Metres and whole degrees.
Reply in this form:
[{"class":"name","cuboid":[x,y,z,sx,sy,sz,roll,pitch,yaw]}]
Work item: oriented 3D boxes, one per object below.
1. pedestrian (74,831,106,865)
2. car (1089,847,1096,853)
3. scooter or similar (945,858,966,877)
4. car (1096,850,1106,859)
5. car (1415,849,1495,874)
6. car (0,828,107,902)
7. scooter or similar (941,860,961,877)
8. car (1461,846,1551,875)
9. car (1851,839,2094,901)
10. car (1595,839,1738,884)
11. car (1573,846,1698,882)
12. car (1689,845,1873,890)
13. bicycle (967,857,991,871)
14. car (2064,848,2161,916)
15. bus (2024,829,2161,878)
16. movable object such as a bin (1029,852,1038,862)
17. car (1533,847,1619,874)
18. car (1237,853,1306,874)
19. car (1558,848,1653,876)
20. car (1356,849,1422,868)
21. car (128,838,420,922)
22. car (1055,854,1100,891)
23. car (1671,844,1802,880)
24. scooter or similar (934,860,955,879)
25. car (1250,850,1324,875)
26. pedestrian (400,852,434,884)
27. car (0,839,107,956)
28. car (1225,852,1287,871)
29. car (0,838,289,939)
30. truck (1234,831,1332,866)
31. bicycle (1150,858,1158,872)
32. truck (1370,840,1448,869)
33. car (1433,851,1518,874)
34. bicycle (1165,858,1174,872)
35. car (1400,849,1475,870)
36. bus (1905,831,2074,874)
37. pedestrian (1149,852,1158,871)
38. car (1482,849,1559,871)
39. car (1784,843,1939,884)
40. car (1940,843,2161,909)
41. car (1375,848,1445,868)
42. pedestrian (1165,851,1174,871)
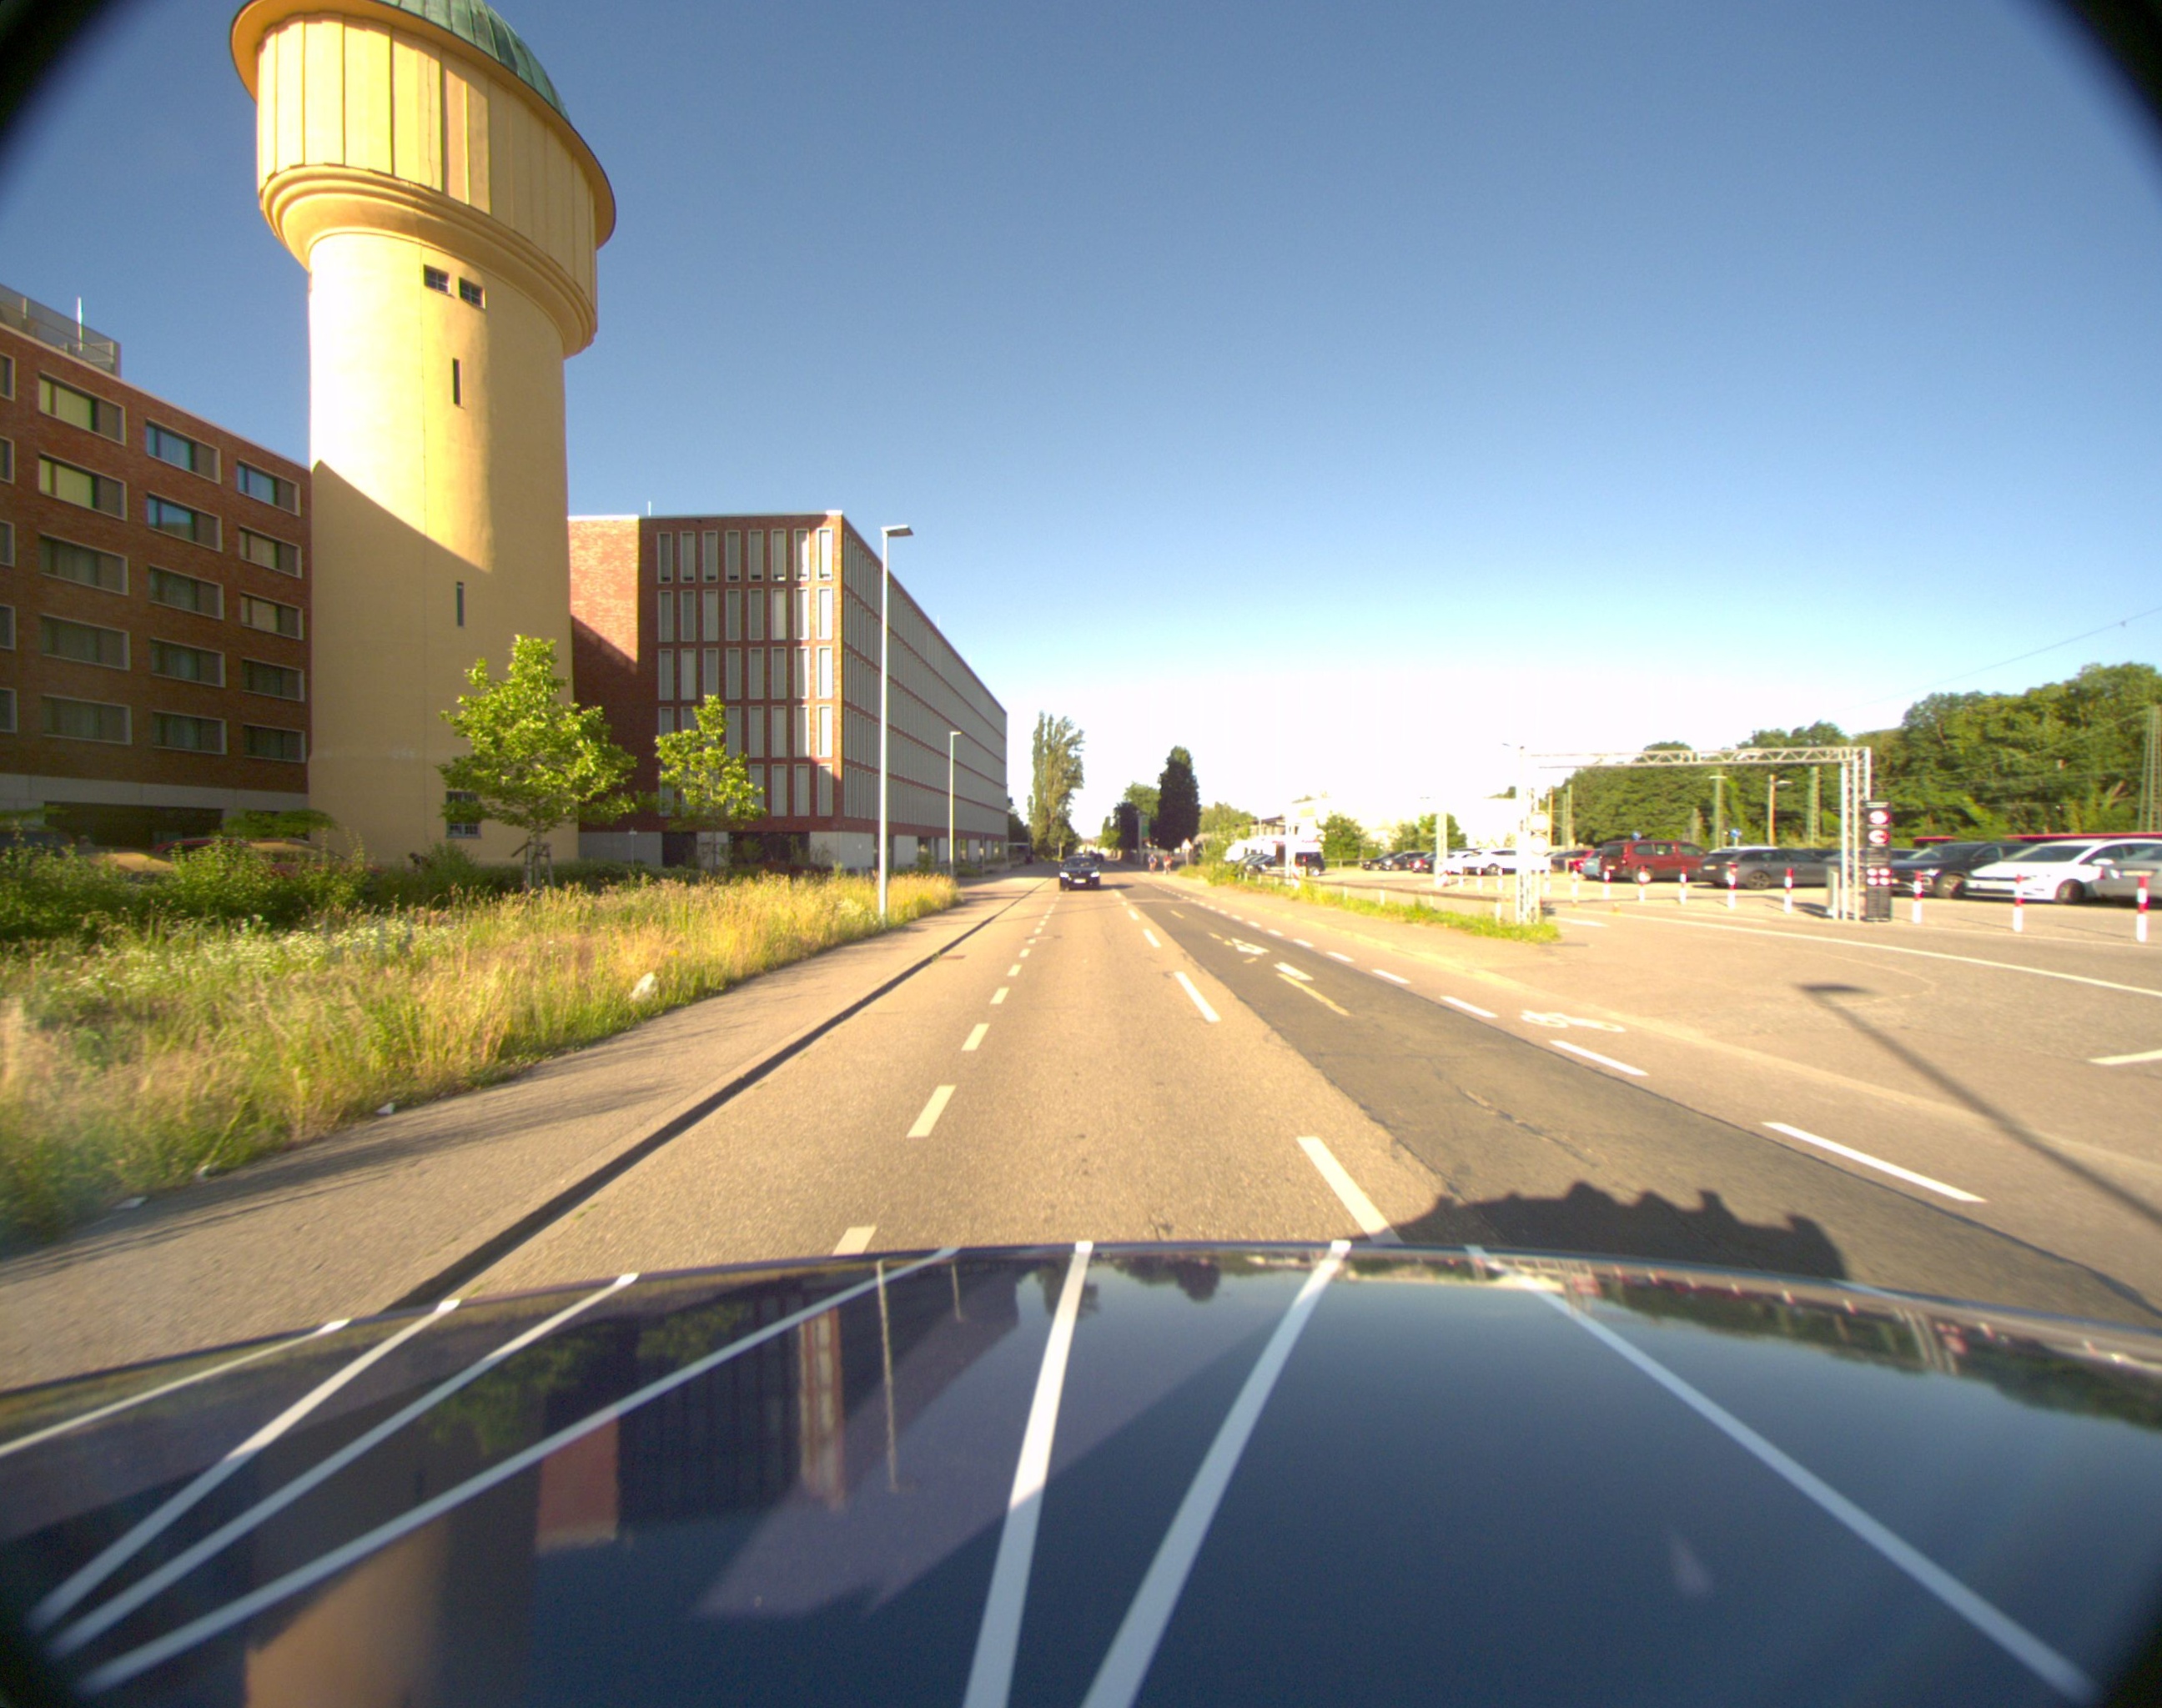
[{"class":"pedestrian","cuboid":[-34.120,-0.212,26.169,0.342,1.134,0.533,-1,2,-3]},{"class":"car","cuboid":[3.234,-1.151,208.692,1.745,1.517,4.111,3,0,0]},{"class":"scooter or similar","cuboid":[-8.528,0.926,51.630,1.343,1.238,0.424,0,1,5]},{"class":"car","cuboid":[3.259,0.057,125.942,1.658,1.495,3.999,1,1,1]},{"class":"car","cuboid":[24.178,0.451,49.232,4.172,1.569,2.048,0,1,-3]},{"class":"car","cuboid":[-29.039,0.295,19.427,1.976,1.924,4.793,-1,0,2]},{"class":"scooter or similar","cuboid":[-8.579,0.962,50.073,1.245,1.149,0.366,0,1,5]},{"class":"car","cuboid":[24.696,0.364,44.291,4.172,1.652,1.966,0,1,-2]},{"class":"car","cuboid":[24.846,0.426,21.302,4.587,1.576,1.857,-1,0,1]},{"class":"car","cuboid":[24.707,0.318,32.164,4.587,1.795,1.857,-1,0,1]},{"class":"car","cuboid":[25.342,0.444,34.841,4.378,1.536,1.857,-1,0,1]},{"class":"car","cuboid":[24.679,0.474,26.940,4.586,1.472,1.991,-1,0,3]},{"class":"bicycle","cuboid":[-8.537,0.851,63.440,1.937,1.163,0.375,1,1,-6]},{"class":"car","cuboid":[24.572,0.545,16.356,4.332,1.385,1.878,-1,0,1]},{"class":"bus","cuboid":[52.795,-0.049,38.735,2.545,2.334,5.589,0,0,2]},{"class":"movable object such as a bin","cuboid":[-6.529,0.378,104.139,1.131,1.328,1.345,0,1,-1]},{"class":"car","cuboid":[30.125,0.370,46.290,3.998,1.540,1.913,-1,0,-2]},{"class":"car","cuboid":[13.528,0.667,54.036,4.439,1.453,2.048,0,1,2]},{"class":"car","cuboid":[30.307,0.447,43.974,4.172,1.521,1.966,0,1,-2]},{"class":"car","cuboid":[24.362,0.359,60.228,4.415,1.457,2.048,0,1,-3]},{"class":"car","cuboid":[-16.484,0.503,15.659,4.193,1.571,1.852,-1,0,4]},{"class":"car","cuboid":[-0.111,0.865,37.853,1.998,1.608,4.000,-3,1,2]},{"class":"car","cuboid":[30.146,0.355,35.027,4.378,1.536,1.857,-1,0,1]},{"class":"scooter or similar","cuboid":[-8.696,0.997,48.498,1.245,1.188,0.340,0,1,5]},{"class":"car","cuboid":[13.777,0.549,51.058,4.439,1.660,2.048,0,1,2]},{"class":"pedestrian","cuboid":[-24.828,0.511,28.411,0.755,1.129,0.818,2,2,35]},{"class":"car","cuboid":[-16.710,0.620,10.548,4.193,1.571,1.852,-1,0,4]},{"class":"car","cuboid":[13.721,0.566,59.863,4.439,1.453,2.048,0,1,2]},{"class":"car","cuboid":[-16.562,0.563,13.011,4.193,1.571,1.852,-1,0,4]},{"class":"truck","cuboid":[22.457,-0.625,84.821,10.124,3.594,2.775,-1,2,-1]},{"class":"bicycle","cuboid":[6.487,0.956,67.666,0.447,1.142,2.201,-2,1,0]},{"class":"truck","cuboid":[31.683,0.006,73.493,6.512,2.791,2.315,0,1,-1]},{"class":"car","cuboid":[24.252,0.504,46.789,4.172,1.389,2.048,0,1,-3]},{"class":"bicycle","cuboid":[7.787,0.950,66.914,0.471,1.142,1.869,-2,1,0]},{"class":"car","cuboid":[24.390,0.384,52.035,4.172,1.389,2.048,0,1,-3]},{"class":"bus","cuboid":[52.974,-0.091,44.603,2.545,2.334,6.205,0,0,2]},{"class":"pedestrian","cuboid":[6.420,0.648,67.681,0.722,1.711,1.057,0,1,0]},{"class":"car","cuboid":[30.178,0.398,52.281,4.172,1.389,2.048,0,1,-3]},{"class":"car","cuboid":[29.776,0.365,29.077,3.997,1.457,1.894,-1,0,-1]},{"class":"car","cuboid":[24.788,0.515,19.054,4.332,1.514,1.878,-1,0,1]},{"class":"car","cuboid":[24.853,0.306,57.493,4.415,1.457,2.048,0,1,-3]},{"class":"pedestrian","cuboid":[7.803,0.623,66.913,0.722,1.711,1.057,0,1,0]}]
